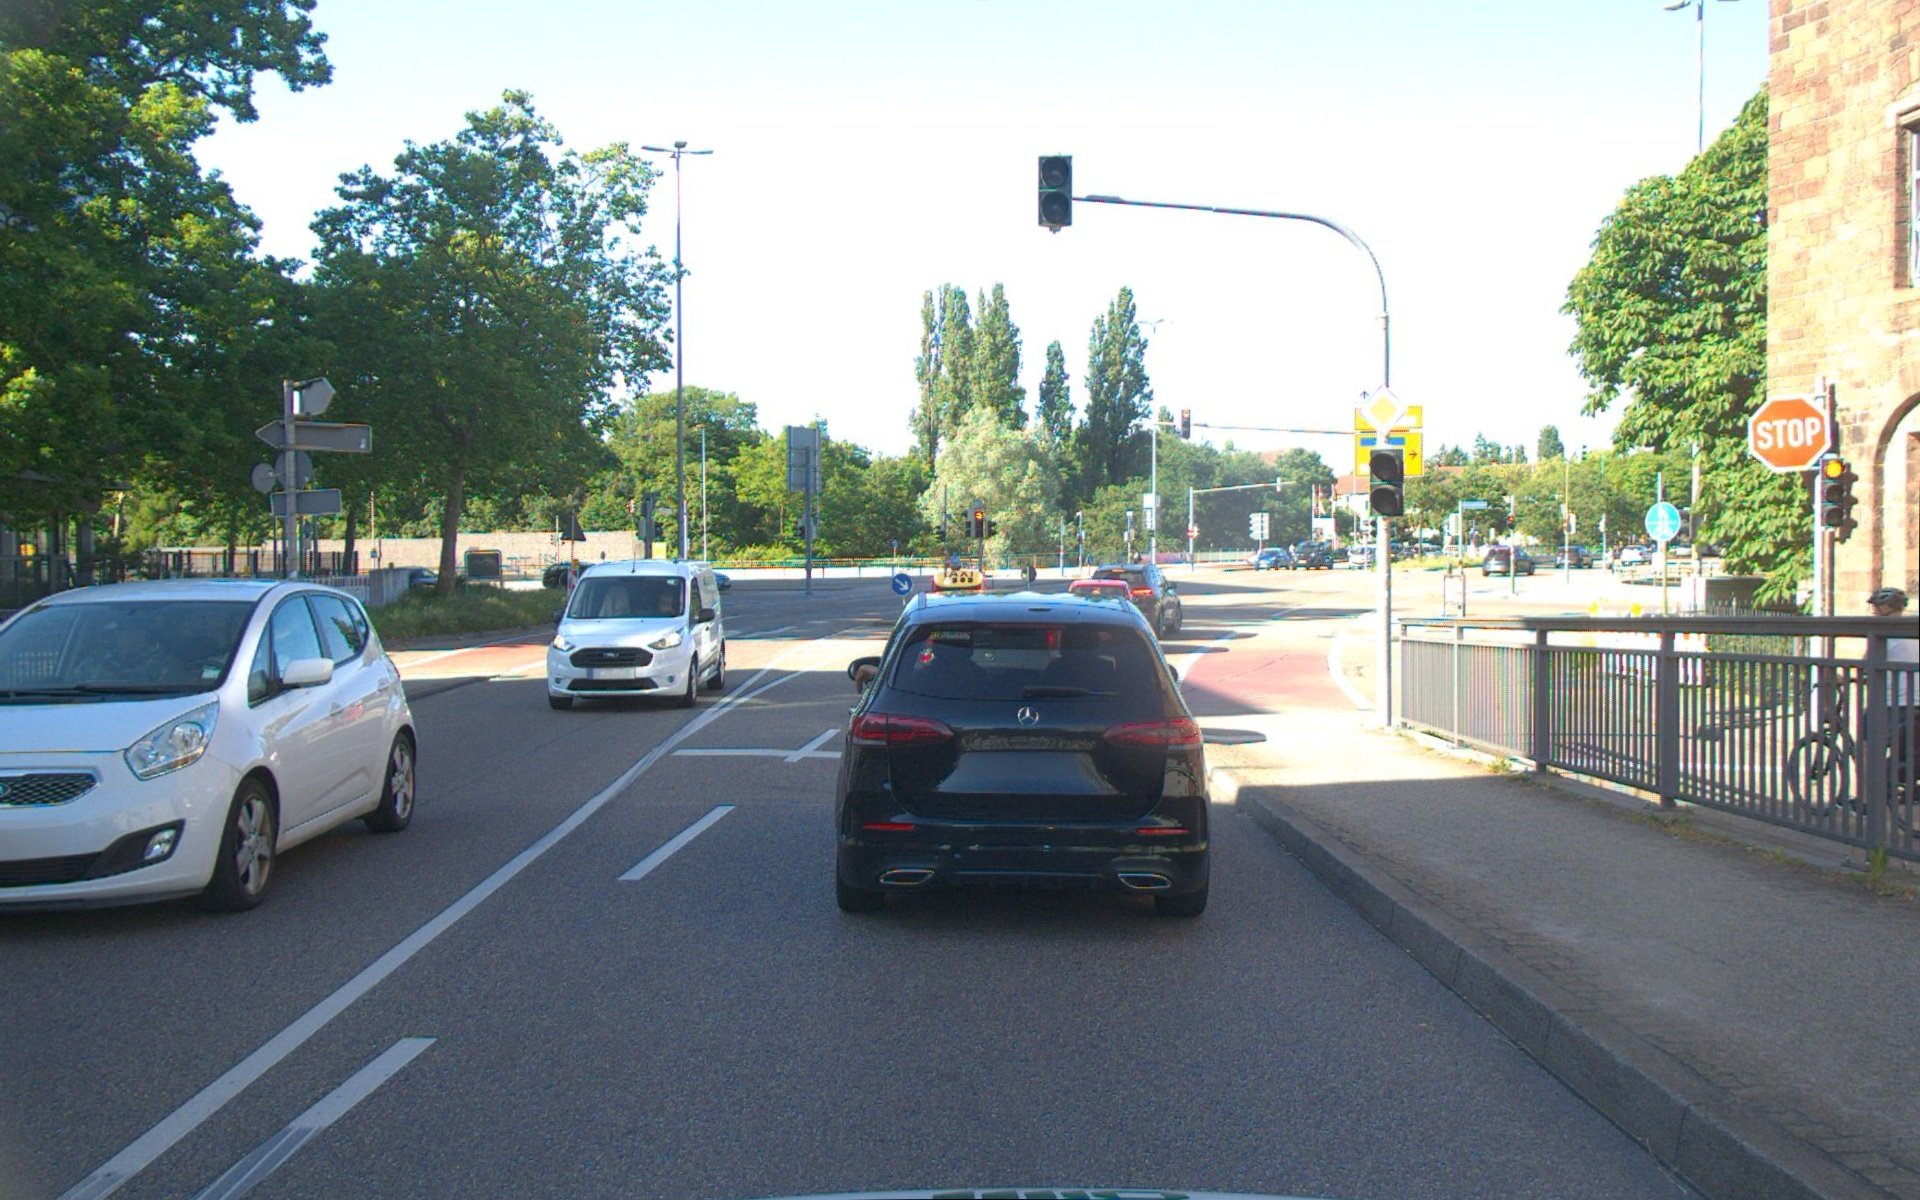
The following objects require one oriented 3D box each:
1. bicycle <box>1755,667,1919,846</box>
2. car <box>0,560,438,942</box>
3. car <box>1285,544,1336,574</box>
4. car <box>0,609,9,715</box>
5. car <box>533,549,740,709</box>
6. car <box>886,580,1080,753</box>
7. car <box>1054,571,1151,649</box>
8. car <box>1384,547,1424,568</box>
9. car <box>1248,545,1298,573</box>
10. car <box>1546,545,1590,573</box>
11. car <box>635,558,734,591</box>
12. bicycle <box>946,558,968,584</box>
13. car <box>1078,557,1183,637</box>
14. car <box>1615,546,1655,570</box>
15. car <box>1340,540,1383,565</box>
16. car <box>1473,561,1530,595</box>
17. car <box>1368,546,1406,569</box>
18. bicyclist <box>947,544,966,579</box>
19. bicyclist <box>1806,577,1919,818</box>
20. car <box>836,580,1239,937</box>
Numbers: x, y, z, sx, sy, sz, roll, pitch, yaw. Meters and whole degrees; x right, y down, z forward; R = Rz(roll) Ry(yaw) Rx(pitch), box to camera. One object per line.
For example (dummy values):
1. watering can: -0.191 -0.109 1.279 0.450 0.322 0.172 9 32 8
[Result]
1. bicycle: 7.142 1.164 12.591 0.784 1.130 2.399 0 2 -7
2. car: -4.264 0.632 9.056 1.784 1.632 3.997 0 0 -4
3. car: 23.526 -2.769 110.776 1.956 1.969 4.843 0 2 30
4. car: -14.744 0.978 21.870 1.783 1.529 4.451 -1 2 -1
5. car: -4.111 0.274 21.847 1.773 1.832 5.120 -1 1 -1
6. car: 0.256 0.595 17.348 1.782 1.515 4.001 -1 1 1
7. car: 3.134 0.168 35.715 1.781 1.505 4.004 2 2 9
8. car: 33.414 -3.157 124.458 1.957 1.478 3.992 1 1 30
9. car: 21.718 -2.856 114.607 1.956 1.897 4.843 0 2 30
10. car: 40.382 -2.722 109.821 1.958 1.825 3.990 0 2 32
11. car: -12.947 -1.208 77.706 4.348 1.463 1.825 0 2 26
12. bicycle: -0.163 -1.464 82.485 0.672 1.223 2.330 -1 2 10
13. car: 4.311 -0.132 41.233 1.829 1.821 4.418 2 2 16
14. car: 50.651 -3.161 124.078 1.960 1.668 3.986 0 2 35
15. car: 26.870 -3.188 110.565 1.785 1.610 4.098 0 2 28
16. car: 30.763 -1.216 93.825 1.960 1.825 3.985 1 -1 36
17. car: 30.190 -3.012 116.887 1.690 1.610 3.999 0 2 28
18. bicyclist: -0.170 -1.914 82.474 0.672 1.730 1.199 -1 2 10
19. bicyclist: 7.143 0.701 12.588 0.784 1.734 1.084 -1 1 -7
20. car: 0.302 0.685 9.081 1.715 1.520 3.999 0 0 -1
